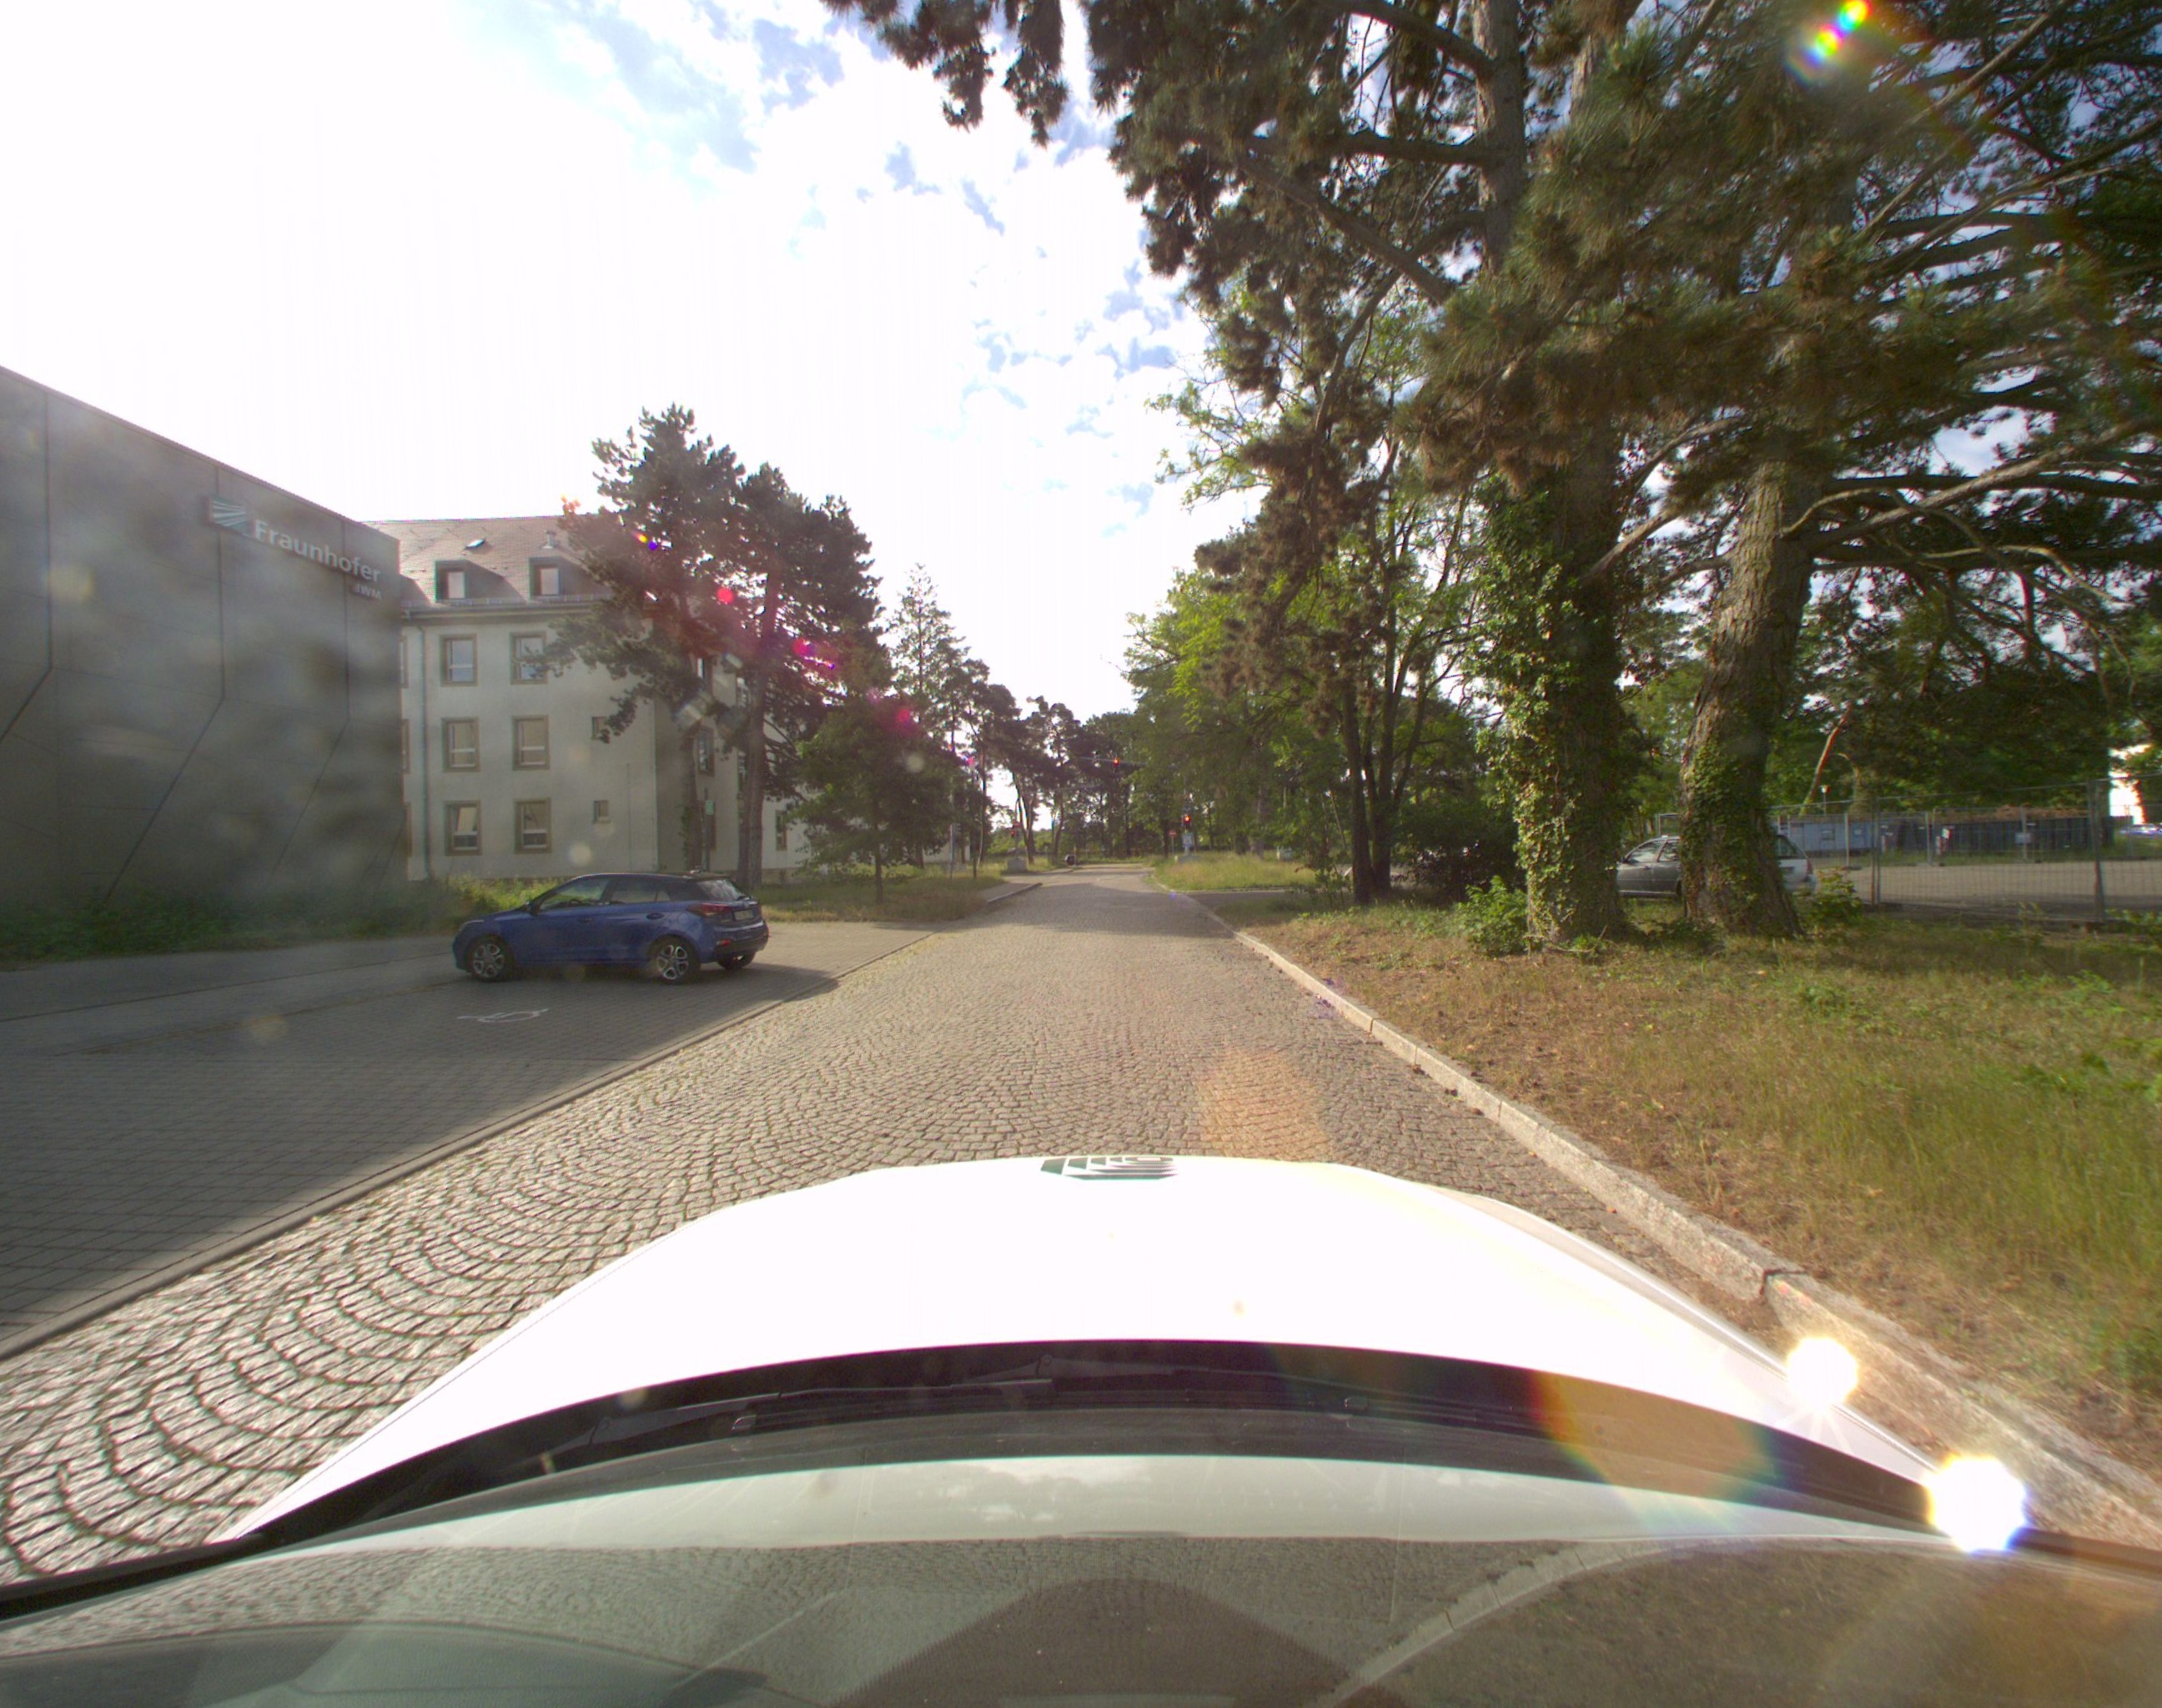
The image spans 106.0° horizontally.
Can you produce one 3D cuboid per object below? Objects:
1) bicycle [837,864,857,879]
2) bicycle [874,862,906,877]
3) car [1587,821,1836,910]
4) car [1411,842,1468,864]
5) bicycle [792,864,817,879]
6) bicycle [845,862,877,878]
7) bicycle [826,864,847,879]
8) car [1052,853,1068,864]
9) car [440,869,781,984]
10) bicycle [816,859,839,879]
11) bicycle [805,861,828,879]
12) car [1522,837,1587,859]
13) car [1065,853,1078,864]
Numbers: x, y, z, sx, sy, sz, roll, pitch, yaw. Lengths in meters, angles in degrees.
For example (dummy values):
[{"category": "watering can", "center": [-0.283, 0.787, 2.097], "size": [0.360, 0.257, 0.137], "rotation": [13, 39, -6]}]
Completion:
[{"category": "bicycle", "center": [-17.706, 1.301, 61.710], "size": [0.823, 1.047, 2.125], "rotation": [-2, 0, 2]}, {"category": "bicycle", "center": [-14.185, 1.141, 60.462], "size": [2.111, 1.047, 0.828], "rotation": [-2, 0, -2]}, {"category": "car", "center": [11.935, 0.193, 15.809], "size": [1.662, 1.467, 3.998], "rotation": [-2, 0, -1]}, {"category": "car", "center": [23.362, -0.085, 53.169], "size": [1.726, 1.312, 4.330], "rotation": [-2, 0, -1]}, {"category": "bicycle", "center": [-20.947, 1.326, 61.791], "size": [0.897, 1.047, 2.555], "rotation": [-2, 0, 2]}, {"category": "bicycle", "center": [-16.308, 1.160, 60.422], "size": [2.111, 1.108, 0.828], "rotation": [-2, 0, -2]}, {"category": "bicycle", "center": [-18.488, 1.307, 61.687], "size": [0.823, 1.047, 2.125], "rotation": [-2, 0, 2]}, {"category": "car", "center": [-3.127, 0.624, 122.435], "size": [1.772, 1.490, 3.765], "rotation": [-2, 0, 9]}, {"category": "car", "center": [-6.476, 0.958, 11.497], "size": [3.819, 1.464, 1.721], "rotation": [0, 0, 3]}, {"category": "bicycle", "center": [-19.270, 1.105, 62.050], "size": [0.823, 1.437, 2.555], "rotation": [-2, 0, 2]}, {"category": "bicycle", "center": [-20.051, 1.203, 61.768], "size": [0.823, 1.281, 2.555], "rotation": [-2, 0, 2]}, {"category": "car", "center": [31.242, -0.392, 53.856], "size": [1.726, 1.312, 4.330], "rotation": [-2, 0, -1]}, {"category": "car", "center": [-1.316, 0.594, 117.641], "size": [1.839, 1.486, 3.999], "rotation": [-2, 0, 0]}]
